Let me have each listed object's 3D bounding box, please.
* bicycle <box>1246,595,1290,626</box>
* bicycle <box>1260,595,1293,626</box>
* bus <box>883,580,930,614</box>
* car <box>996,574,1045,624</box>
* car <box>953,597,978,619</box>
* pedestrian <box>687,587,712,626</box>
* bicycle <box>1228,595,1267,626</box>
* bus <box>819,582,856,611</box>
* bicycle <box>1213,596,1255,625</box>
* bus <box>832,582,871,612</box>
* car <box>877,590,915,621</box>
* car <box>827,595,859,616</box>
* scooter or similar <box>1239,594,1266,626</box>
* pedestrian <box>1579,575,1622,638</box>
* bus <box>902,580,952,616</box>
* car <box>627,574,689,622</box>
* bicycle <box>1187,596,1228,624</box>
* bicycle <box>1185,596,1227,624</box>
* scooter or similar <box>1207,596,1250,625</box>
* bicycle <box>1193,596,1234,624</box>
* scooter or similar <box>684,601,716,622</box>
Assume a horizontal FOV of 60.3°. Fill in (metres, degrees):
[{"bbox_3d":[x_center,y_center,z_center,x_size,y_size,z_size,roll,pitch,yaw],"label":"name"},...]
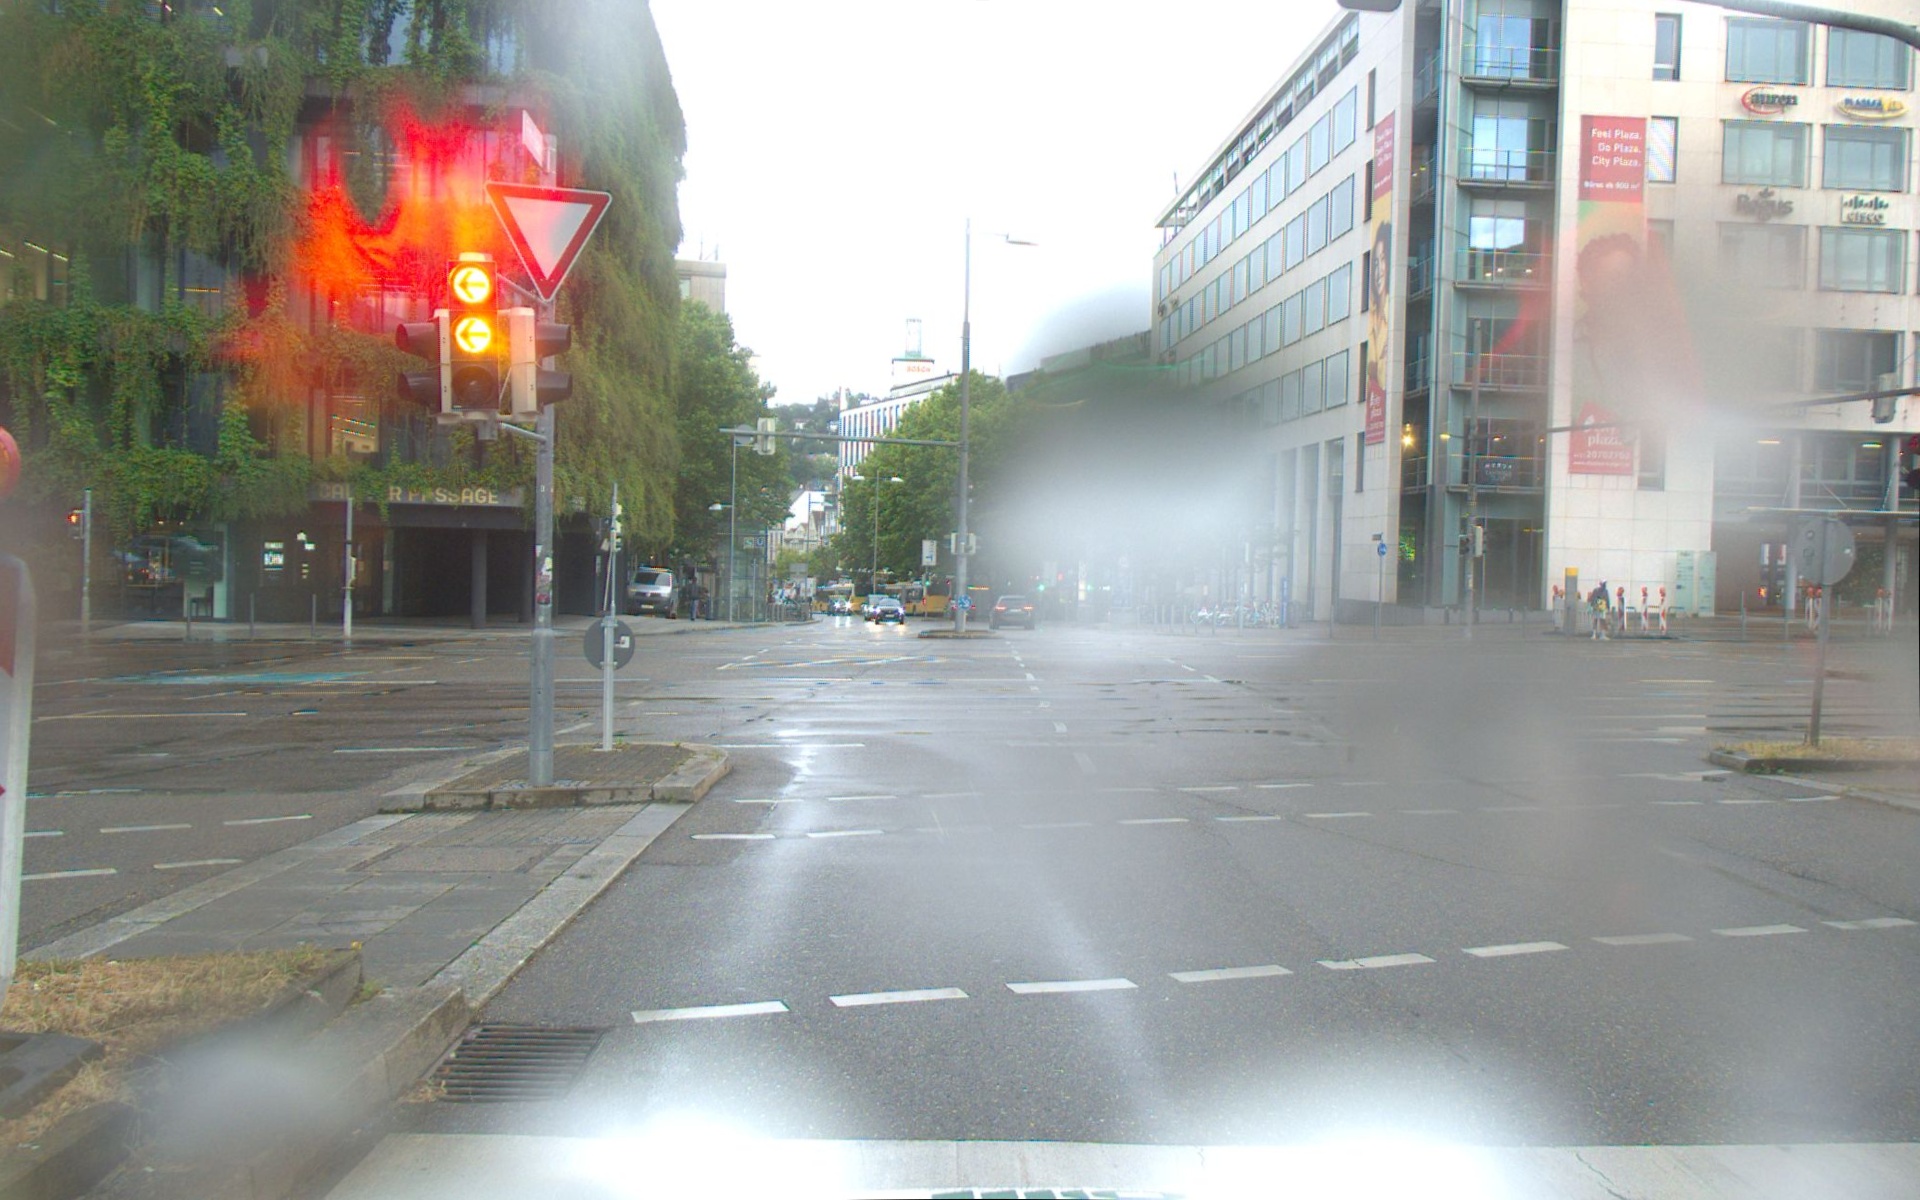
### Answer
[{"bbox_3d":[12.115,0.415,65.024,1.590,1.215,0.586,1,-1,25],"label":"bicycle"},{"bbox_3d":[12.853,0.436,67.145,0.575,1.215,1.776,1,-1,37],"label":"bicycle"},{"bbox_3d":[-4.977,-0.272,153.018,2.585,3.048,7.417,0,0,-16],"label":"bus"},{"bbox_3d":[2.645,-0.024,71.659,1.511,2.049,4.672,1,0,9],"label":"car"},{"bbox_3d":[0.396,0.566,120.255,1.745,1.534,3.999,1,0,-1],"label":"car"},{"bbox_3d":[-11.126,0.282,70.717,0.915,1.673,0.774,1,-1,-1],"label":"pedestrian"},{"bbox_3d":[11.578,0.412,66.568,0.578,1.215,1.766,1,0,-28],"label":"bicycle"},{"bbox_3d":[-13.352,-0.429,180.133,2.585,3.048,7.417,0,0,-16],"label":"bus"},{"bbox_3d":[11.885,0.439,71.782,1.741,1.215,0.586,1,-1,1],"label":"bicycle"},{"bbox_3d":[-11.355,-0.299,173.066,2.585,3.048,7.296,0,0,-16],"label":"bus"},{"bbox_3d":[-3.831,0.316,98.711,2.121,1.796,5.108,1,0,-4],"label":"car"},{"bbox_3d":[-10.169,0.465,143.694,2.126,1.796,5.096,1,0,-12],"label":"car"},{"bbox_3d":[11.379,0.399,64.328,0.946,1.215,0.453,1,-1,40],"label":"scooter or similar"},{"bbox_3d":[19.366,0.197,50.000,0.942,1.848,0.836,1,-1,-1],"label":"pedestrian"},{"bbox_3d":[-2.981,-0.212,145.901,2.585,3.048,7.417,0,0,-16],"label":"bus"},{"bbox_3d":[-12.395,-0.077,68.143,1.832,1.871,3.999,1,0,-1],"label":"car"},{"bbox_3d":[10.999,0.432,73.572,1.741,1.215,0.586,1,-1,1],"label":"bicycle"},{"bbox_3d":[10.856,0.427,72.935,1.741,1.215,0.586,1,-1,1],"label":"bicycle"},{"bbox_3d":[11.541,0.431,71.154,1.741,1.215,0.586,1,-1,1],"label":"scooter or similar"},{"bbox_3d":[11.415,0.443,74.496,1.741,1.215,0.586,1,-1,1],"label":"bicycle"},{"bbox_3d":[-12.942,0.549,82.343,0.612,1.022,1.653,1,0,37],"label":"scooter or similar"}]
